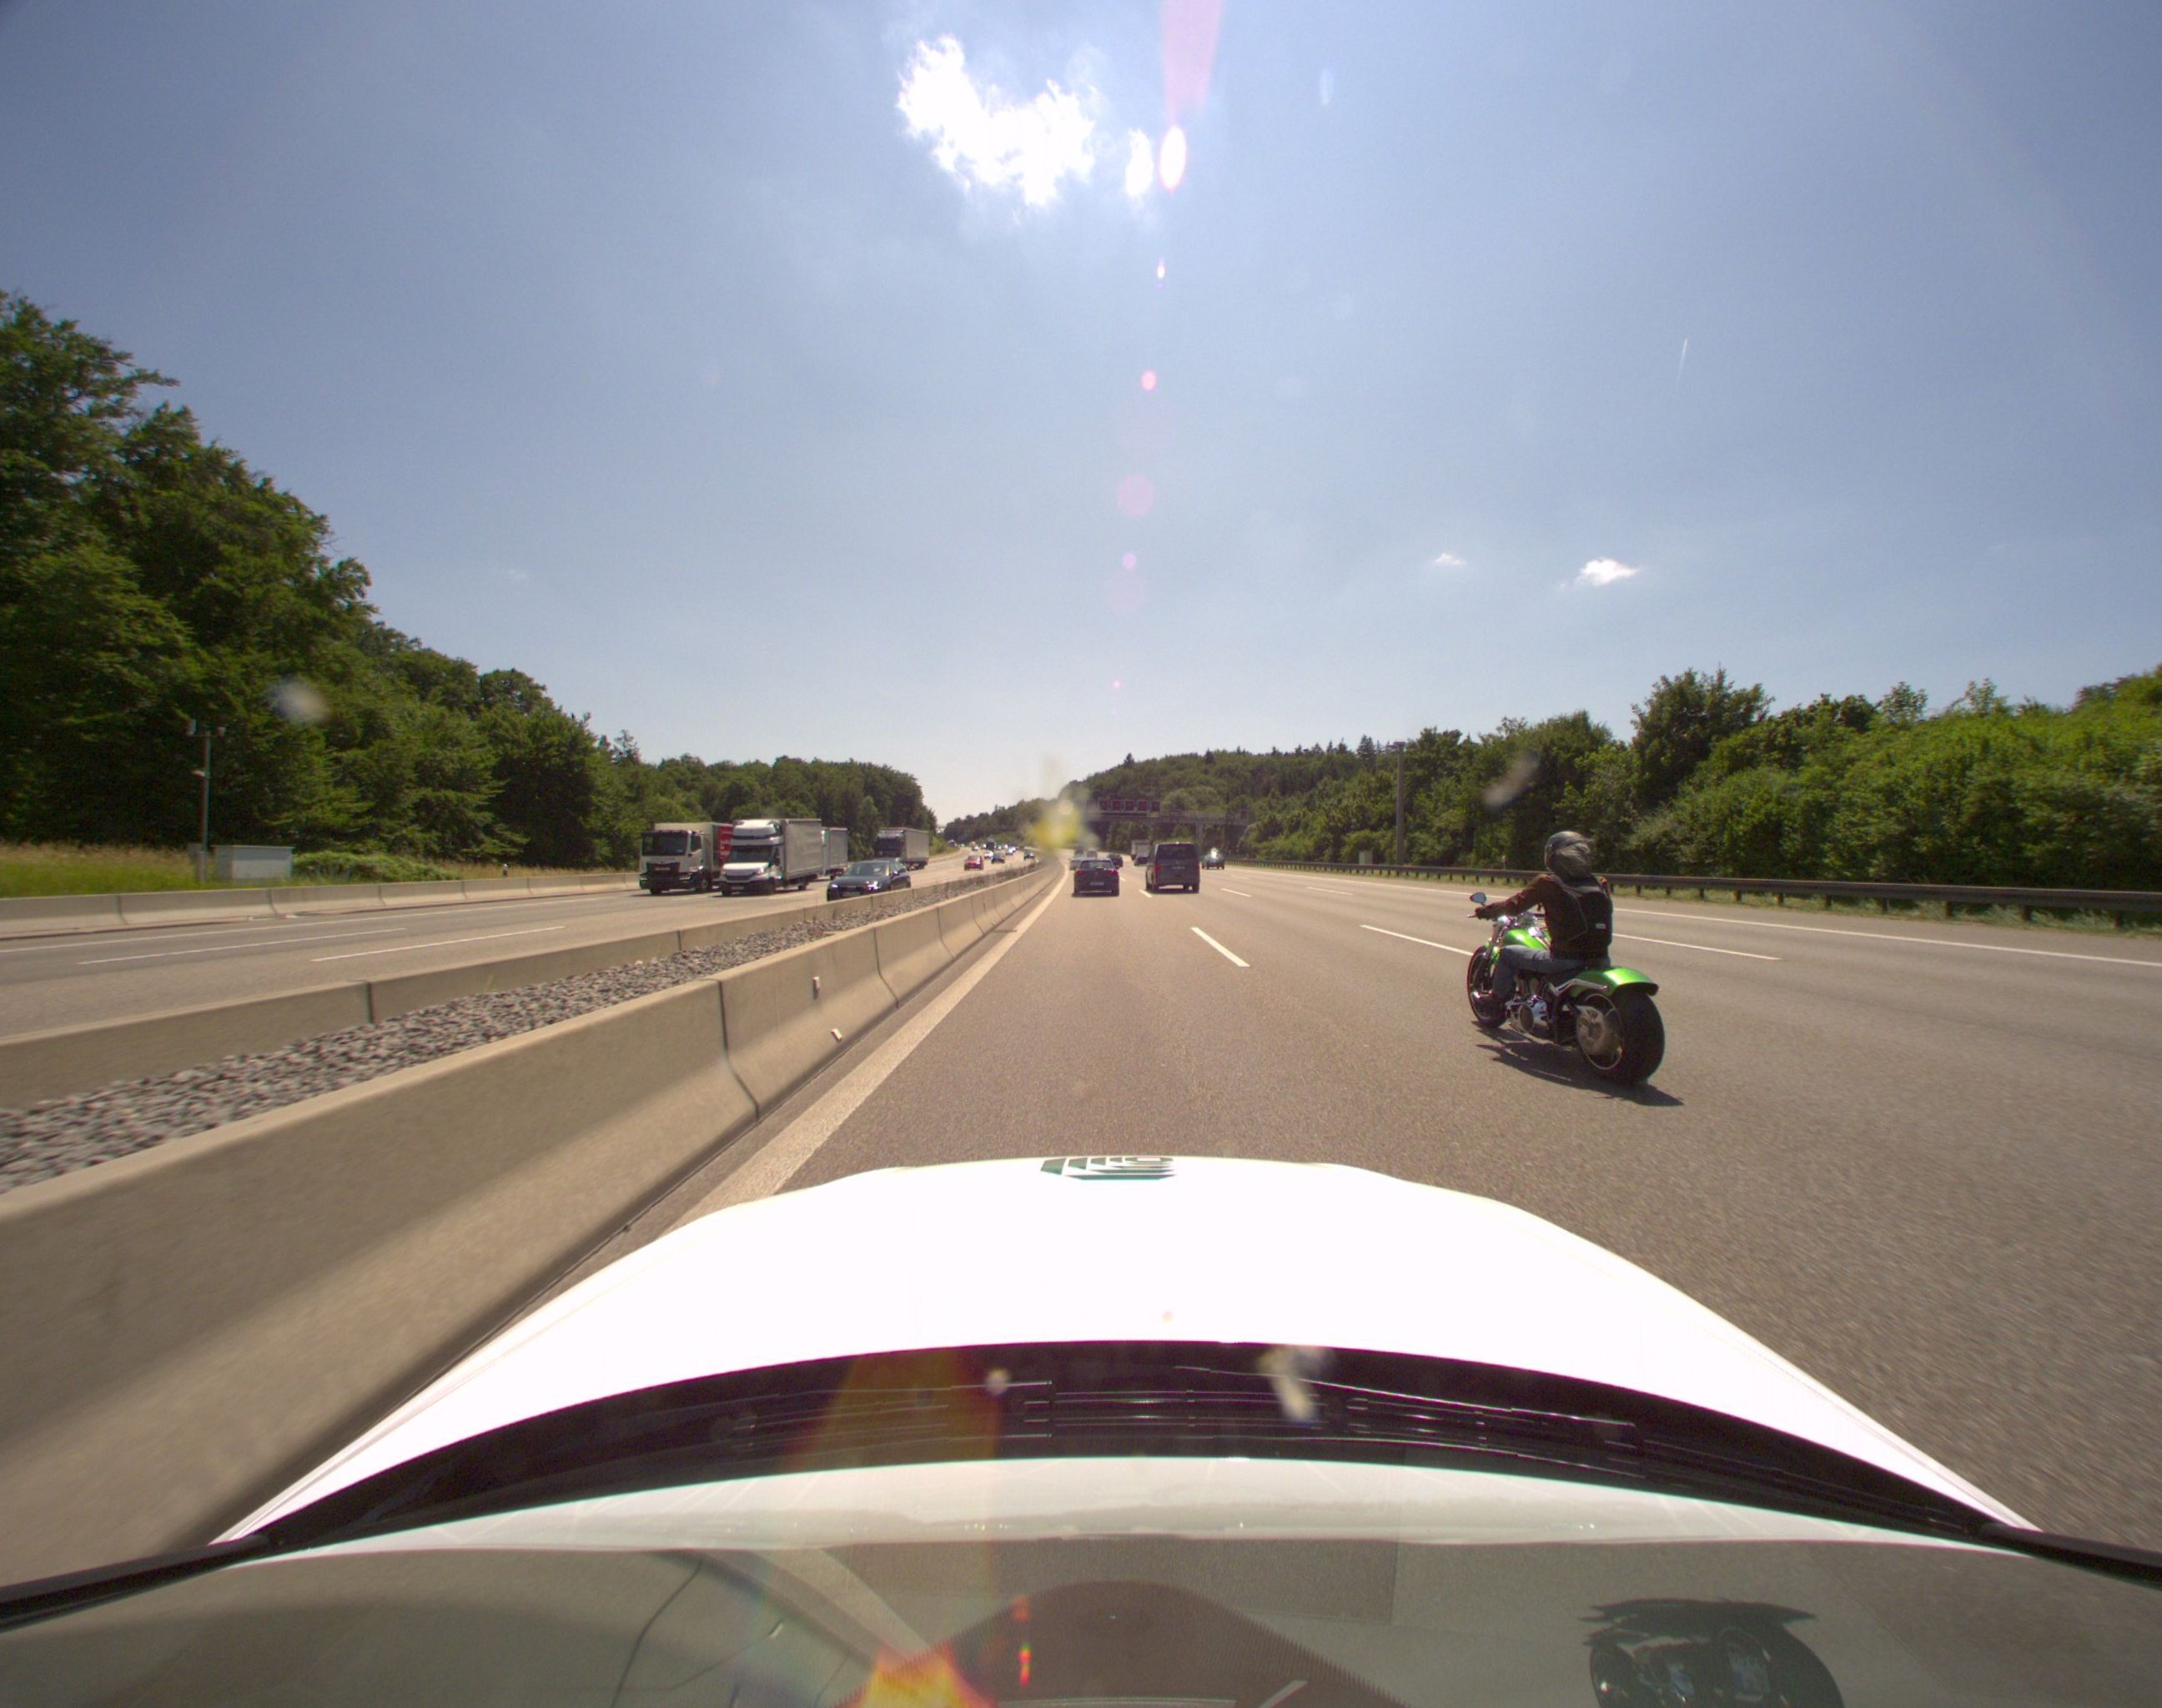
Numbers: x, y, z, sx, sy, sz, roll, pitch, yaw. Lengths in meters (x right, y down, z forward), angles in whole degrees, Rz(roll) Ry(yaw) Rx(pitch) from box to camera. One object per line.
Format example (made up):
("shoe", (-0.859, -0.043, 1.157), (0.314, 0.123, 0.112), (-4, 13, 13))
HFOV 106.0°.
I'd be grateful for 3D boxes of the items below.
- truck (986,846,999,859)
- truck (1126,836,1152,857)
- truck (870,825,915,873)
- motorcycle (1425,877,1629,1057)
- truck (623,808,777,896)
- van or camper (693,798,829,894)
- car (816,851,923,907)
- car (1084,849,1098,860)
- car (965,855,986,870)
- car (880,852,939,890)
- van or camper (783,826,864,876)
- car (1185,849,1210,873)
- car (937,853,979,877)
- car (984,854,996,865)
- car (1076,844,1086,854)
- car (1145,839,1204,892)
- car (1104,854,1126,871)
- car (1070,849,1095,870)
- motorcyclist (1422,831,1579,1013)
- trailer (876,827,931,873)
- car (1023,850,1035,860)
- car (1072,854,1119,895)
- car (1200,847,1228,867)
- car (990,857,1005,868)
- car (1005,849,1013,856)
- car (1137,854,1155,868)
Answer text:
("truck", (-27.146, -0.482, 251.105), (3.779, 4.177, 5.869), (0, 0, -5))
("truck", (9.106, -1.228, 128.084), (2.980, 3.166, 7.564), (-1, 1, -4))
("truck", (-17.777, -0.418, 77.172), (2.868, 4.290, 6.449), (-1, 0, -1))
("motorcycle", (3.533, 0.799, 6.730), (0.533, 1.135, 2.440), (-1, 0, 5))
("truck", (-17.879, 0.015, 39.160), (2.859, 3.697, 9.240), (0, -1, 1))
("van or camper", (-14.098, -0.212, 36.812), (2.820, 3.839, 8.213), (0, -1, 0))
("car", (-6.633, 0.735, 26.152), (1.986, 1.590, 4.847), (-1, 0, 2))
("car", (1.626, 0.017, 133.104), (2.098, 1.744, 4.684), (0, 1, -2))
("car", (-10.584, 0.870, 81.833), (1.664, 1.398, 3.998), (0, -1, -1))
("car", (-8.523, 0.807, 40.829), (1.734, 1.762, 5.120), (-1, 0, 1))
("van or camper", (-17.368, -0.102, 55.618), (2.755, 3.125, 8.095), (0, -1, 1))
("car", (8.731, 0.537, 61.160), (1.839, 1.728, 4.008), (0, -1, 8))
("car", (-9.286, 0.781, 62.133), (2.278, 1.728, 5.032), (-1, 0, 2))
("car", (-17.567, 1.057, 156.644), (1.988, 2.013, 3.997), (-1, 0, -2))
("car", (-0.036, -1.193, 202.883), (2.257, 2.371, 4.702), (-1, 0, 1))
("car", (3.800, 0.439, 33.985), (1.956, 2.033, 5.084), (-1, 0, 1))
("car", (3.594, 0.909, 87.196), (1.989, 1.728, 4.145), (-1, -1, -3))
("car", (0.210, 0.530, 77.700), (2.002, 1.846, 4.005), (-1, -2, 5))
("motorcyclist", (3.526, 0.539, 6.942), (0.848, 1.427, 1.025), (-1, 0, 5))
("trailer", (-17.896, -0.376, 83.211), (2.856, 4.262, 13.951), (-1, 0, -1))
("car", (-9.280, 0.202, 145.545), (1.988, 1.667, 4.432), (-1, 0, -1))
("car", (0.567, 0.737, 31.545), (1.702, 1.433, 4.001), (0, 1, 1))
("car", (11.947, 0.315, 73.372), (1.986, 1.728, 4.000), (-1, -1, 1))
("car", (-11.953, 1.292, 116.513), (1.756, 1.520, 4.359), (0, -1, -1))
("car", (-17.479, -0.394, 197.704), (1.750, 1.635, 4.634), (-1, 1, -3))
("car", (7.265, 0.732, 91.347), (1.660, 1.408, 4.903), (0, 1, 0))
